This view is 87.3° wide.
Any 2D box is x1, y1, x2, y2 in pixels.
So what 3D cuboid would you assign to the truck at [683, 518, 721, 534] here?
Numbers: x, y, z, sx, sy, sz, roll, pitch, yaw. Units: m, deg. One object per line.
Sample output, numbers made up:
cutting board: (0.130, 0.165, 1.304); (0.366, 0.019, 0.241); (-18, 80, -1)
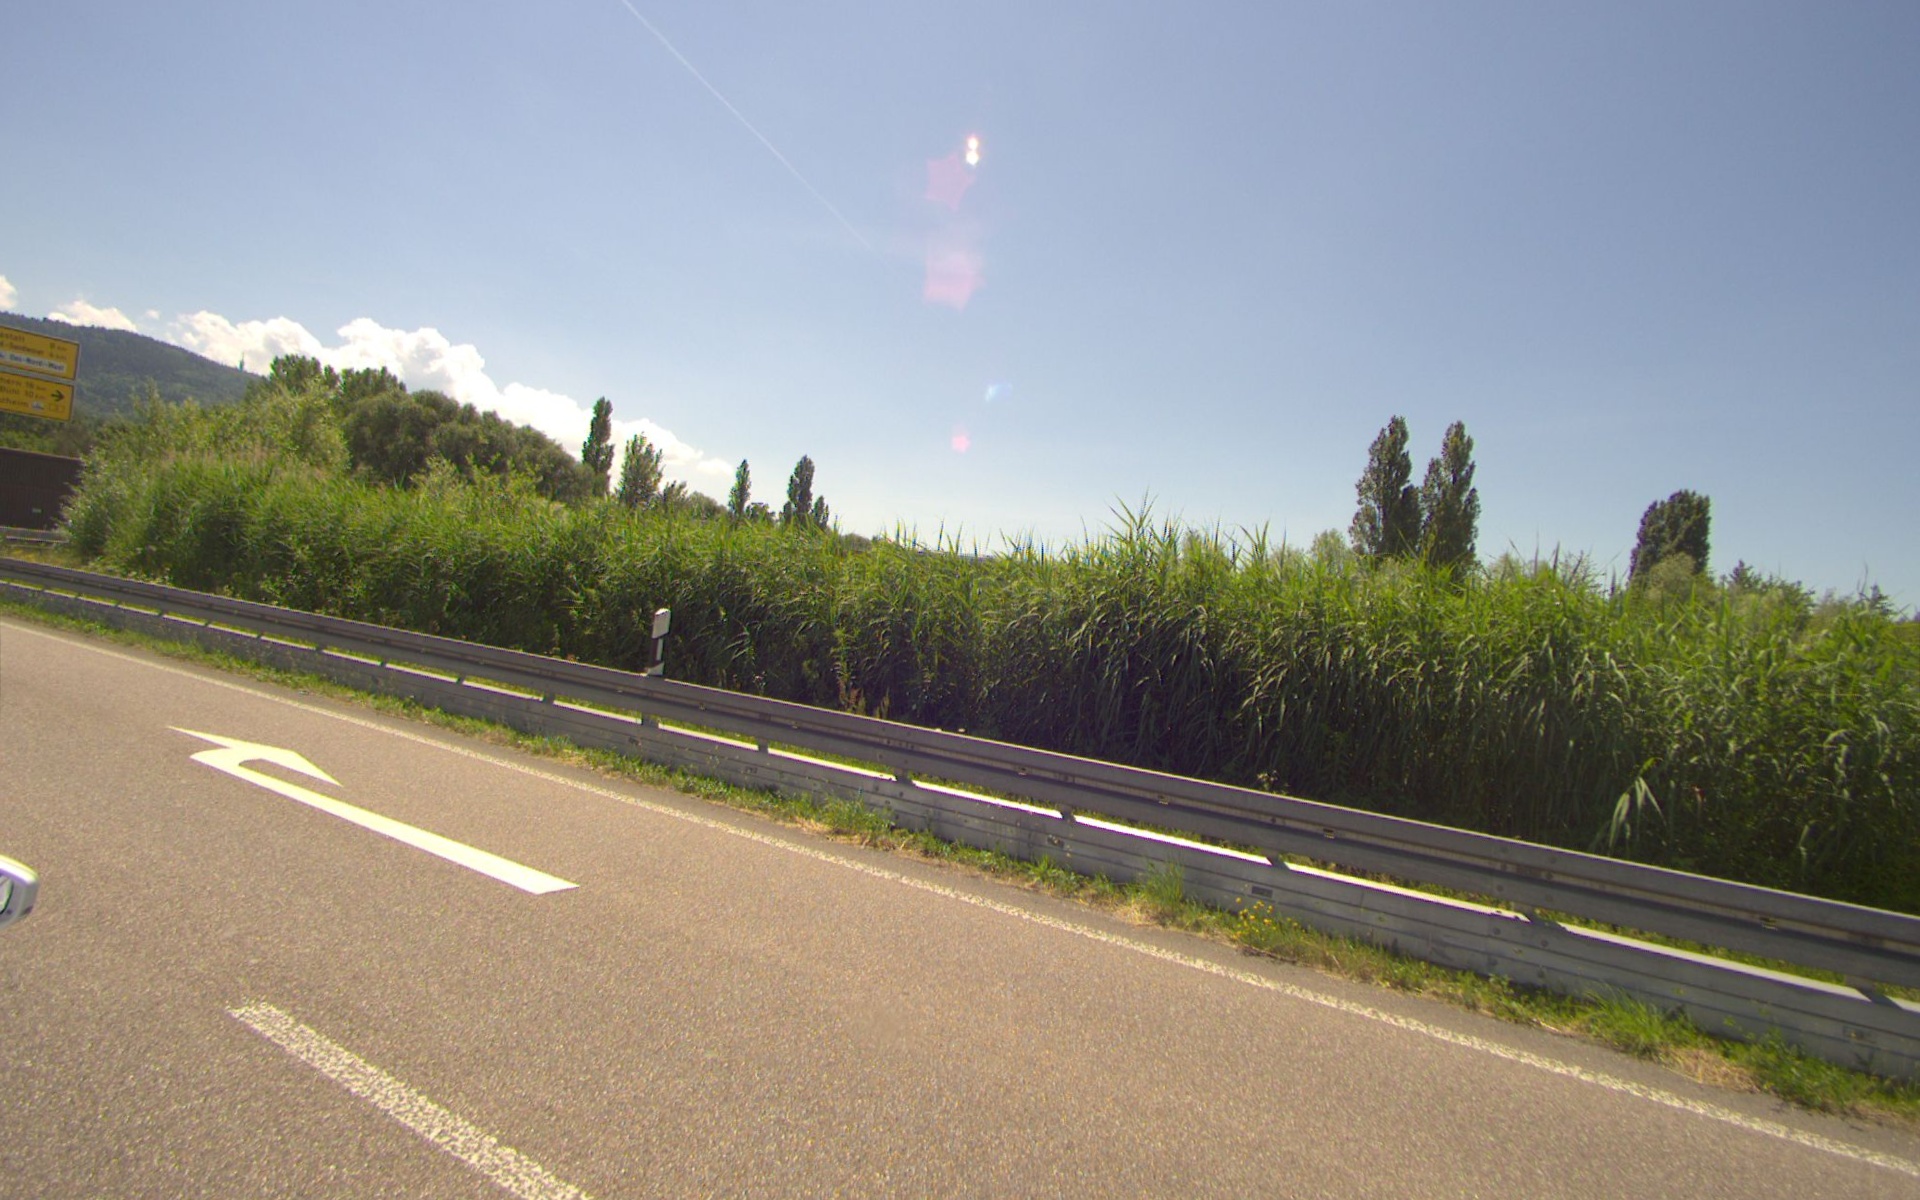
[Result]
truck: (-46.297, -13.303, 180.384); (6.553, 2.255, 2.623); (6, -1, 32)
